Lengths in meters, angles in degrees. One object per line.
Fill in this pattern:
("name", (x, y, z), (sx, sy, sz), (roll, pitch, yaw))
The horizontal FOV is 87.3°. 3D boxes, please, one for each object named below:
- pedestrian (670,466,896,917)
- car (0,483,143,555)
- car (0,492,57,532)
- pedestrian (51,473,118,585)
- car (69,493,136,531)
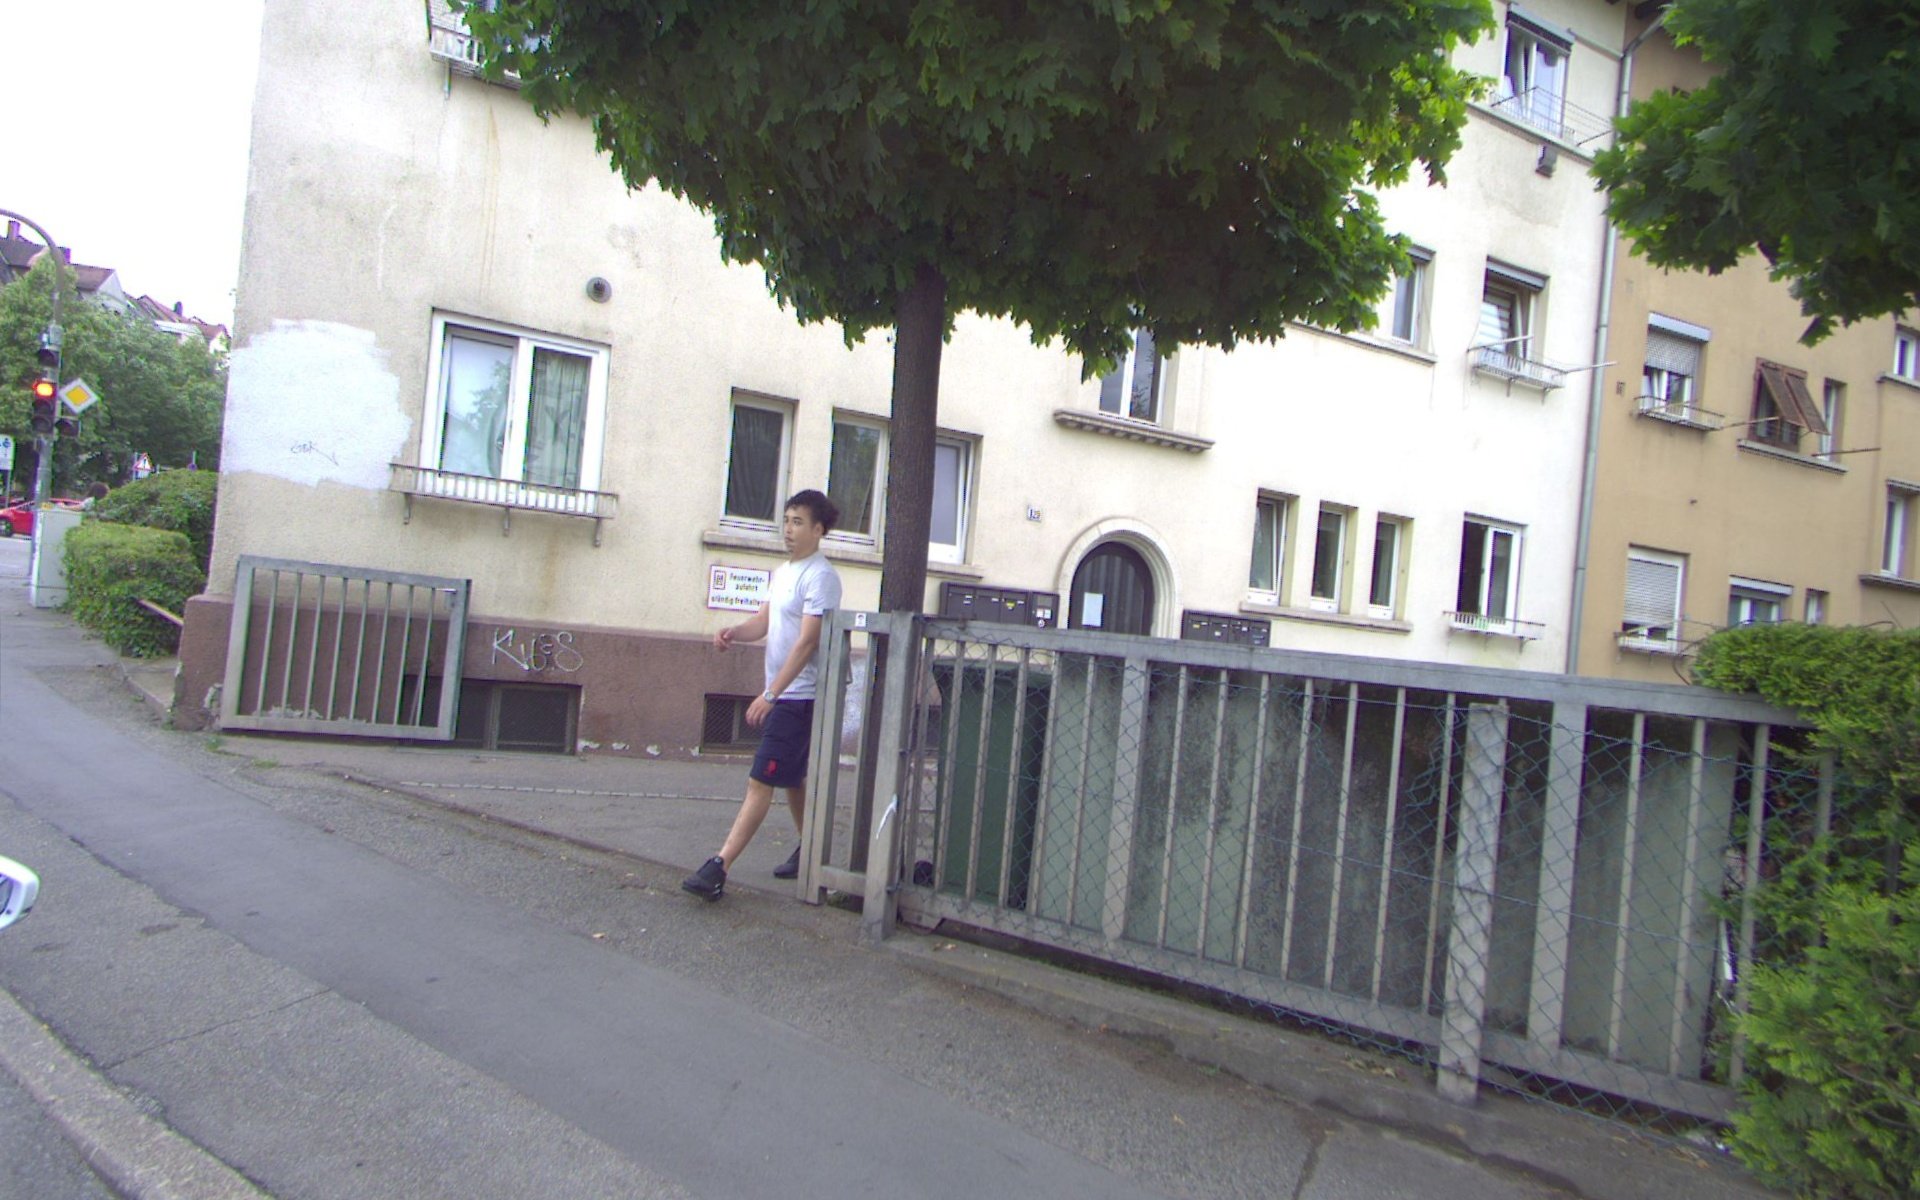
("pedestrian", (-0.758, 0.351, 4.310), (0.683, 1.761, 0.466), (7, 3, 27))
("car", (-29.772, -2.694, 33.163), (3.931, 1.680, 1.716), (8, -2, -6))
("car", (-60.864, -5.720, 64.950), (1.970, 2.036, 3.992), (9, -3, -15))
("pedestrian", (-15.215, -1.224, 17.487), (0.581, 1.840, 0.529), (7, -2, 31))
("car", (-63.066, -6.439, 74.076), (1.970, 2.036, 3.992), (9, -3, -15))
